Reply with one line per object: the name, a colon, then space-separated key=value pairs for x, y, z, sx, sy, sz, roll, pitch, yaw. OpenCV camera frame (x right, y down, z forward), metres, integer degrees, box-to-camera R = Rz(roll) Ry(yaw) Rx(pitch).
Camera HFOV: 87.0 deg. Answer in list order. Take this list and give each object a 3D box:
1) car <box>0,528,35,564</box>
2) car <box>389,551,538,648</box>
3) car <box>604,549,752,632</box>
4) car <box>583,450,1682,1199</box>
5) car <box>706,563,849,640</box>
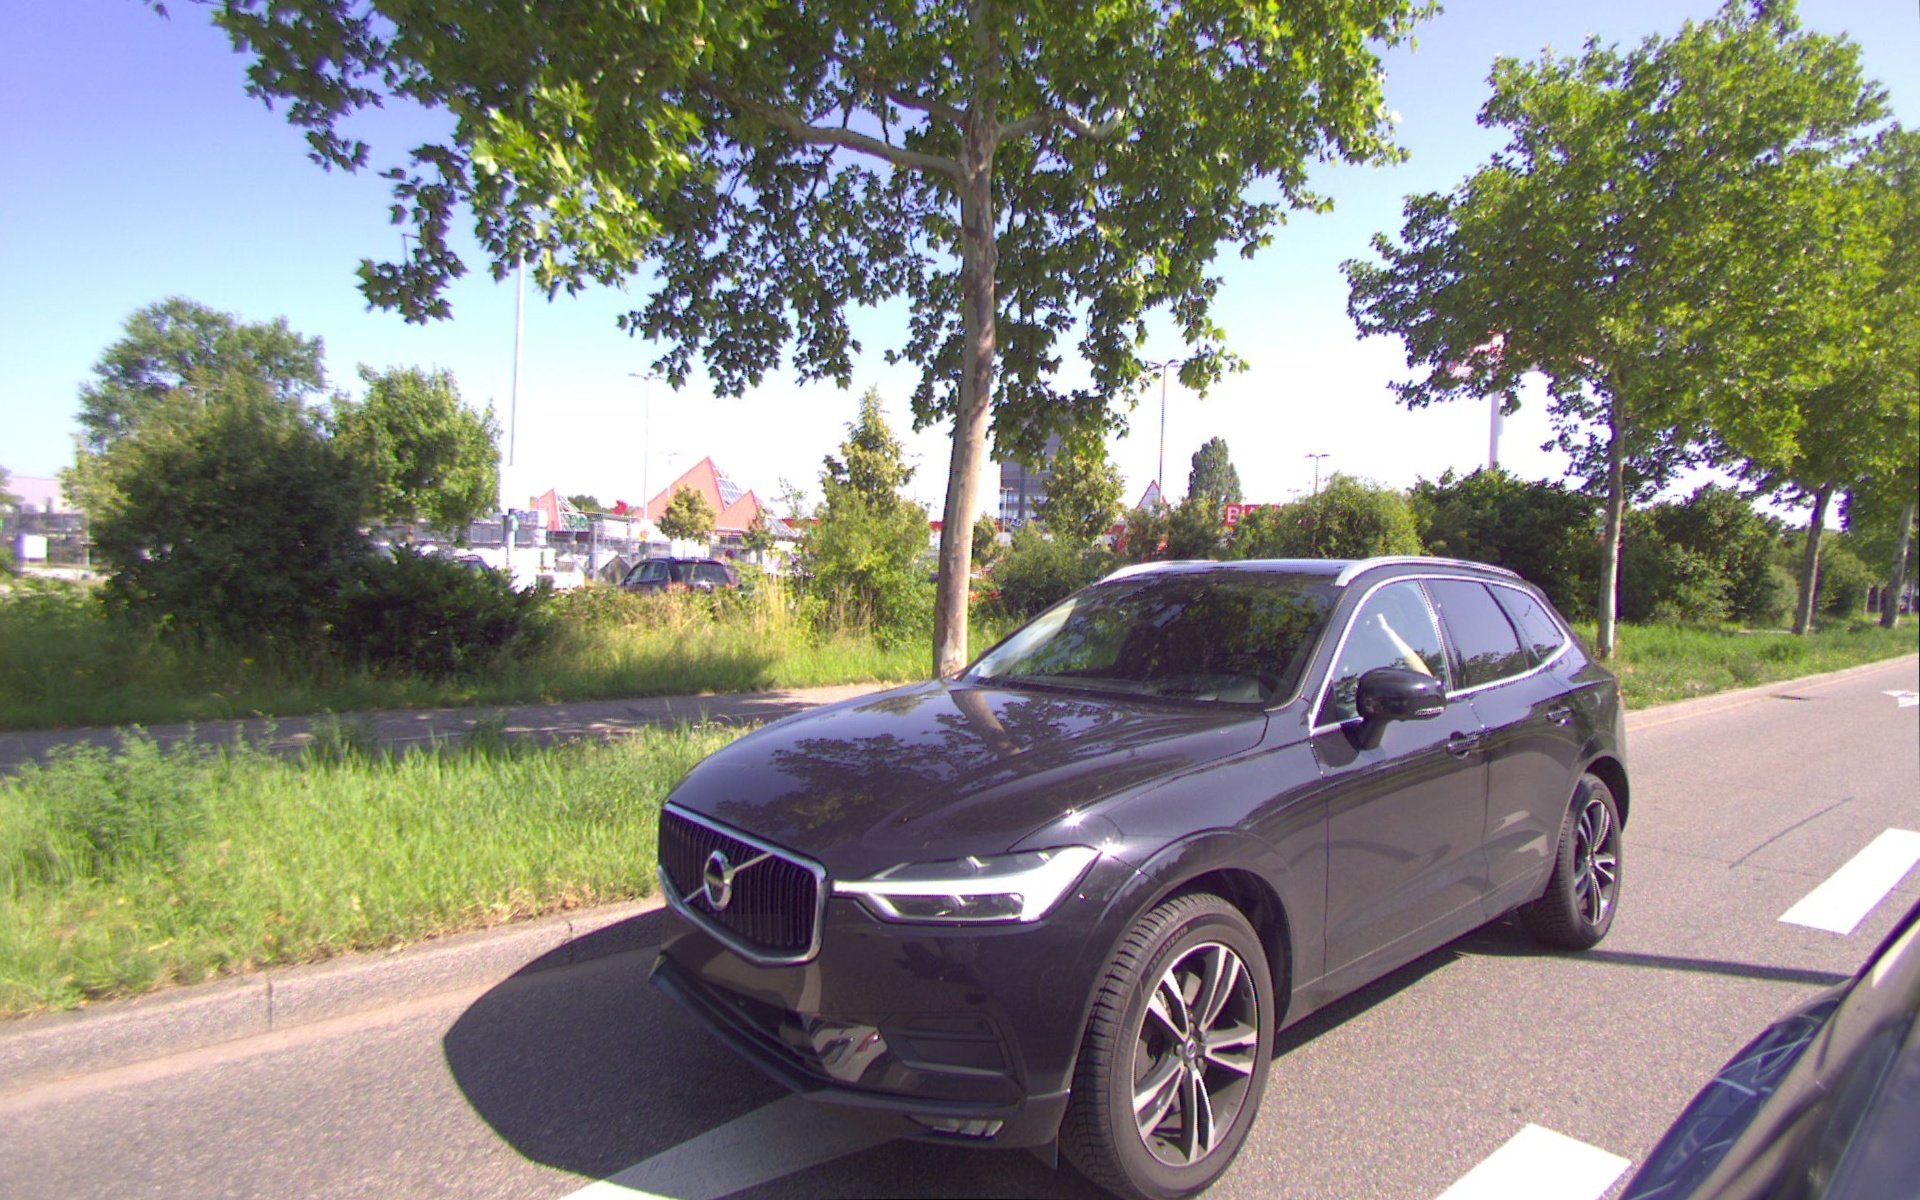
car: x=-57.075 y=-3.162 z=58.940 sx=1.971 sy=2.039 sz=4.370 roll=0 pitch=1 yaw=14
car: x=-9.773 y=-0.035 z=19.812 sx=1.690 sy=1.717 sz=3.552 roll=0 pitch=1 yaw=-42
car: x=-6.404 y=-0.218 z=22.802 sx=3.548 sy=1.717 sz=1.692 roll=1 pitch=1 yaw=45
car: x=1.088 y=0.524 z=4.027 sx=4.485 sy=1.643 sz=1.922 roll=0 pitch=1 yaw=-41
car: x=-4.478 y=0.004 z=24.585 sx=3.548 sy=1.717 sz=1.692 roll=1 pitch=1 yaw=45
